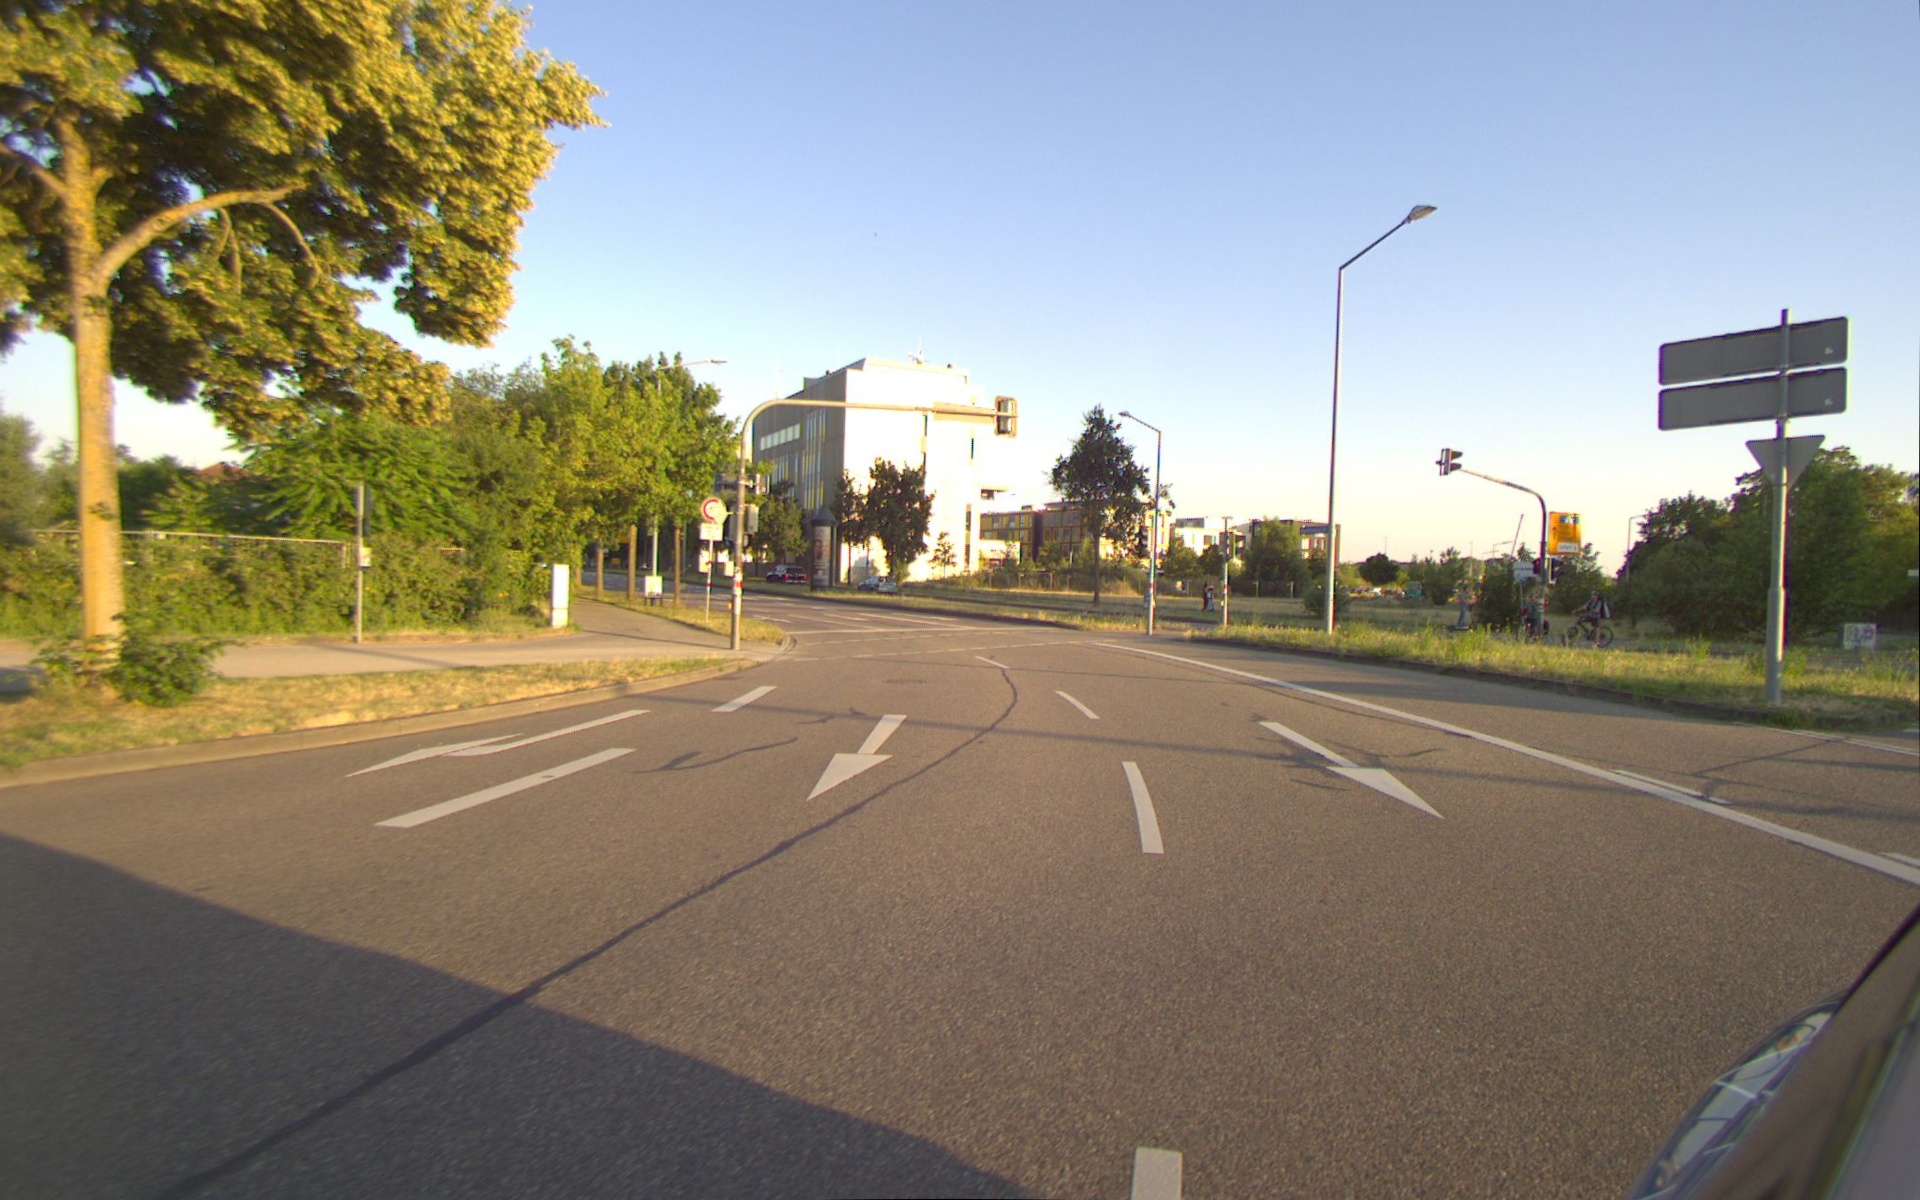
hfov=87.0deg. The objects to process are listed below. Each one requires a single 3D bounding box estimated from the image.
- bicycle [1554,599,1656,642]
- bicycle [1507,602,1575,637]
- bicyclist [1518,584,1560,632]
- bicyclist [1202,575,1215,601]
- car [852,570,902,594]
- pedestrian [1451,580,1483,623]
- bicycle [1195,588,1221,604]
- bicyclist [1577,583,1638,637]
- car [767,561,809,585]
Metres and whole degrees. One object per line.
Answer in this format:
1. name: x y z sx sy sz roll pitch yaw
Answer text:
1. bicycle: 22.441 0.722 35.212 3.465 1.412 1.126 1 2 -22
2. bicycle: 21.046 0.701 36.674 2.280 1.193 0.813 1 2 -20
3. bicyclist: 20.967 0.288 36.630 0.979 1.652 0.813 1 2 -20
4. bicyclist: 13.770 -0.670 56.080 0.464 1.415 0.448 1 1 -33
5. car: -5.869 -1.281 71.521 1.959 1.566 4.137 1 1 -29
6. pedestrian: 21.014 0.069 41.935 0.706 1.722 0.891 1 1 -30
7. bicycle: 13.753 -0.233 56.104 0.464 0.801 1.420 1 2 -32
8. bicyclist: 22.516 0.343 35.185 1.387 1.770 1.126 1 2 -22
9. car: -13.630 -2.165 79.998 1.959 1.772 4.137 1 1 -29
